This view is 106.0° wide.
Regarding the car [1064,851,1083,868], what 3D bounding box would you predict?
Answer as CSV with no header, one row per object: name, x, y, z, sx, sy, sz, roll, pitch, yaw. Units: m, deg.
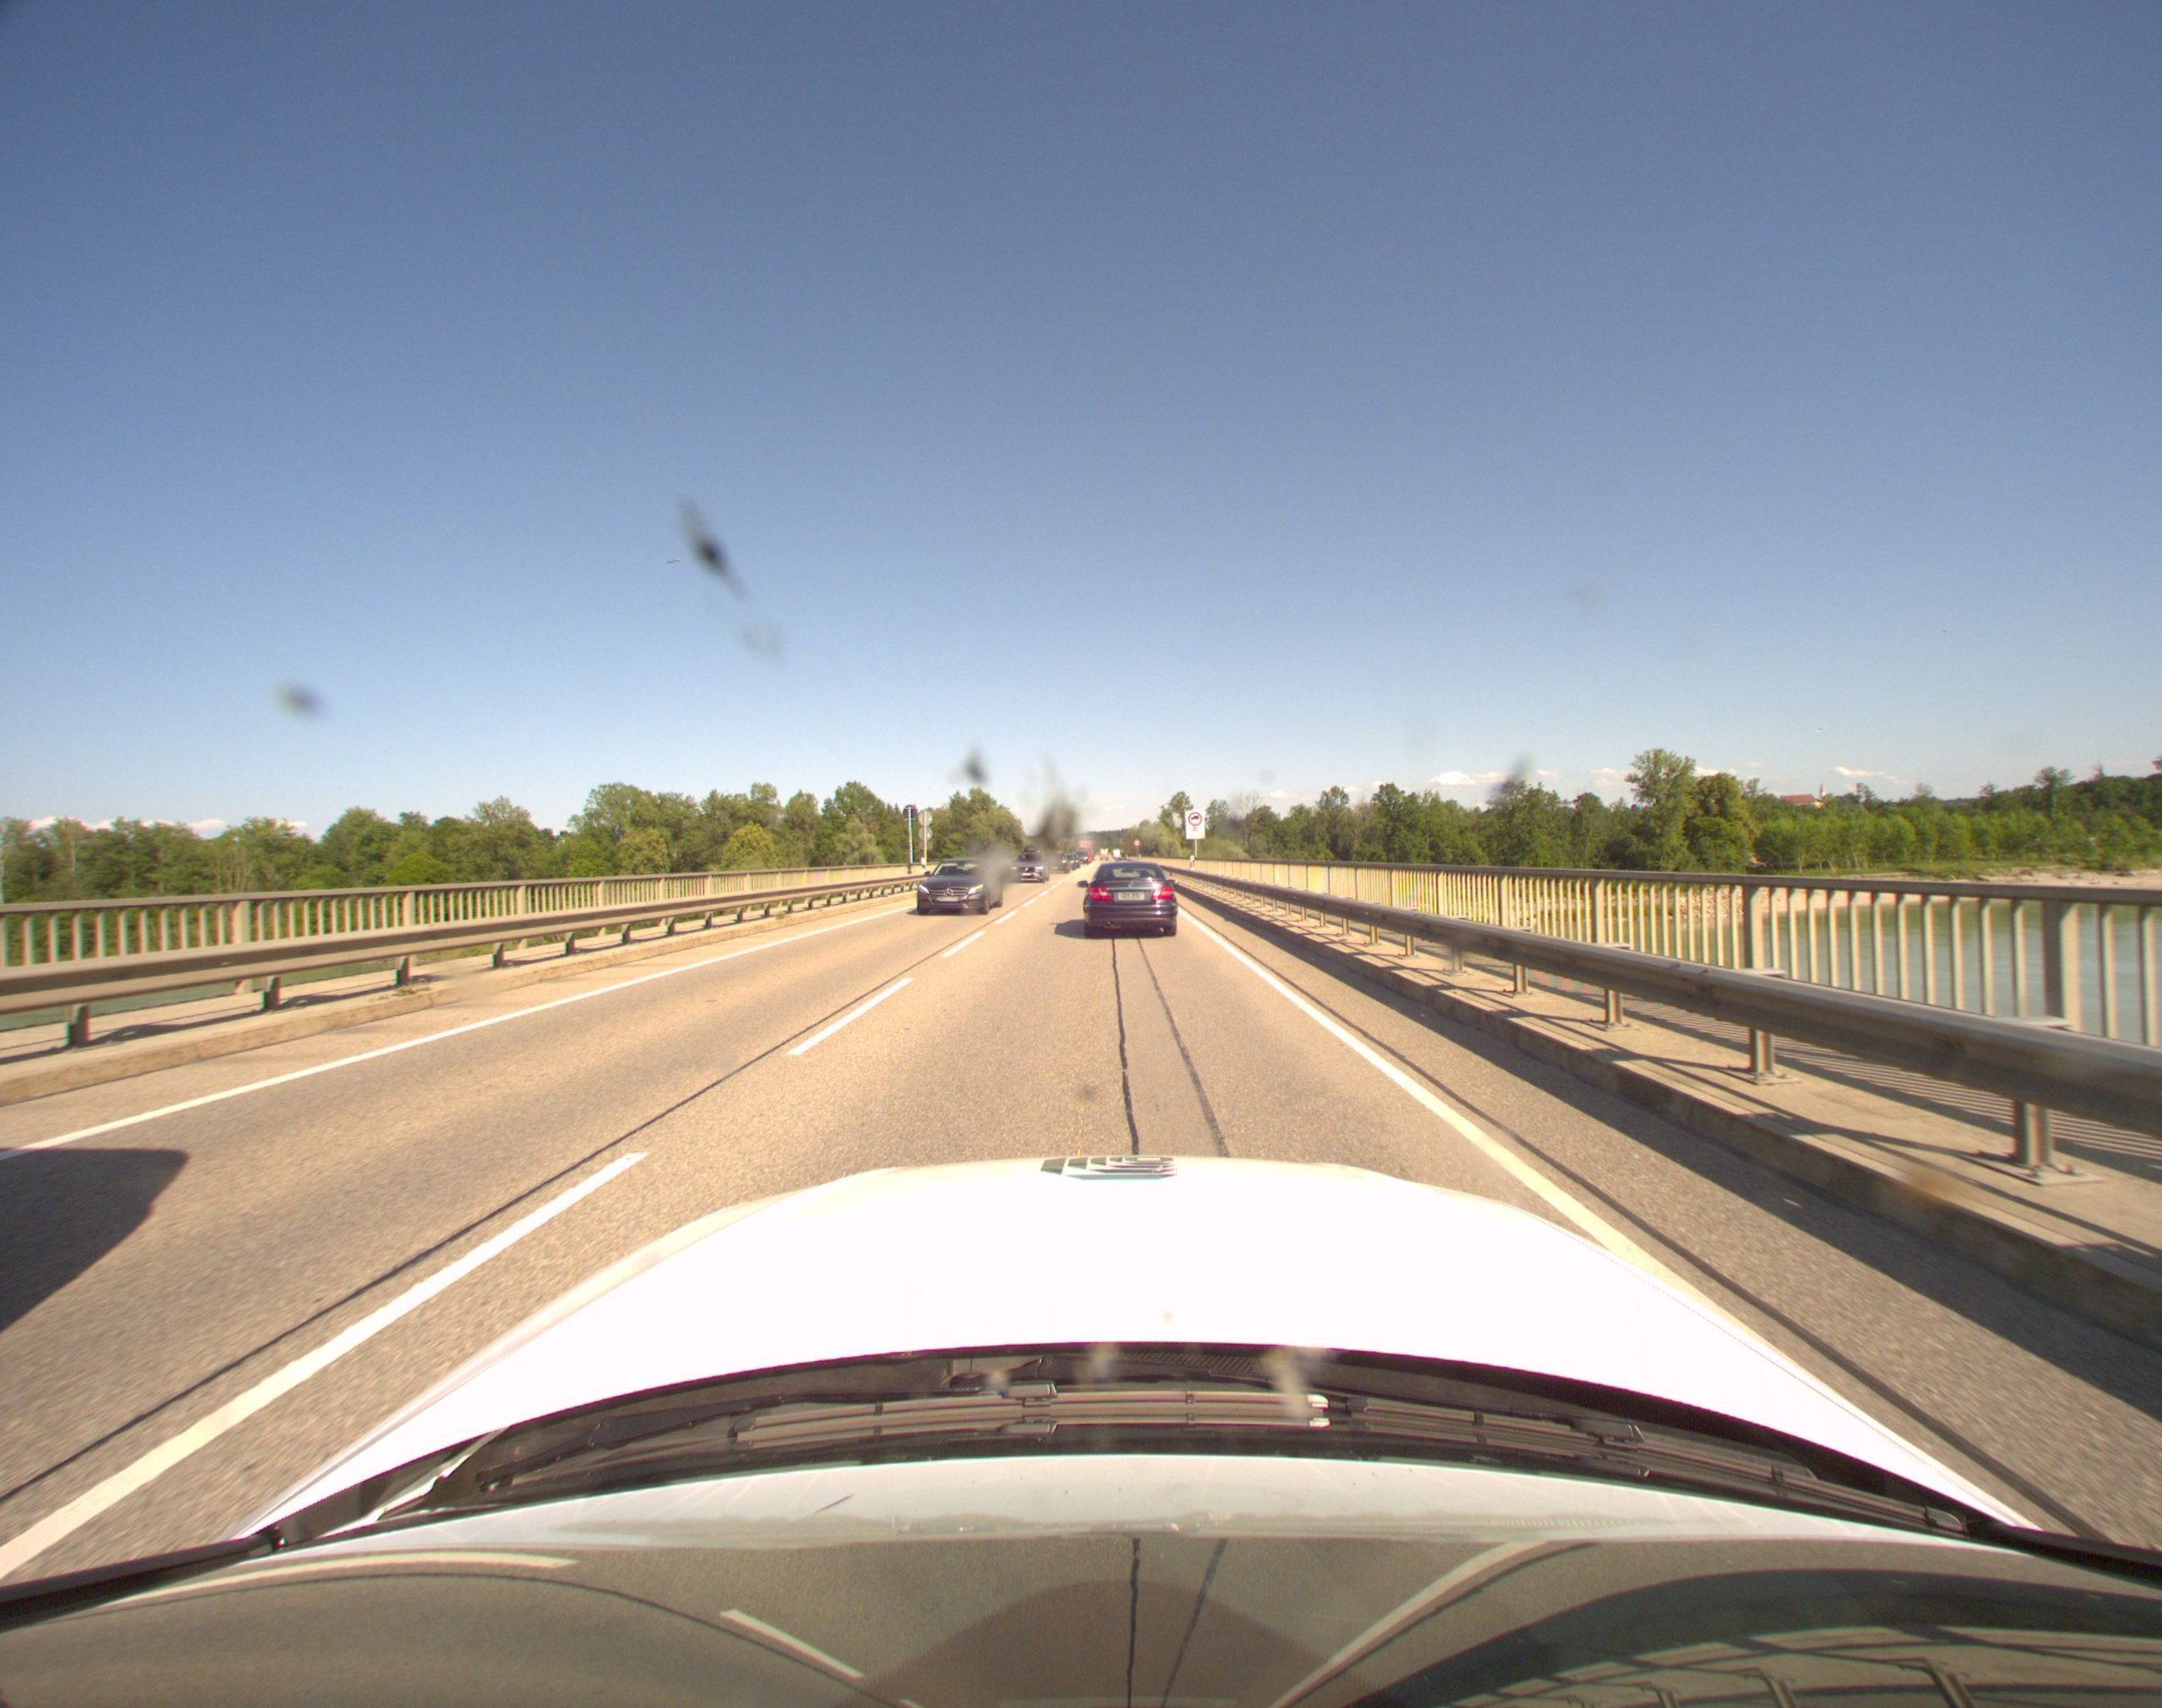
car,-0.786,0.507,80.522,1.801,1.577,4.198,-1,0,-2

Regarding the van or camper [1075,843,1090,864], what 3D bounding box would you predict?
van or camper,0.242,-0.096,125.791,2.307,3.051,6.817,0,0,0

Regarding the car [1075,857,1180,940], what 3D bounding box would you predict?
car,0.896,0.771,15.982,1.786,1.376,4.003,-1,0,3

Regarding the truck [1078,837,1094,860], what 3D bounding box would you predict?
truck,0.967,-1.068,151.882,2.898,4.184,5.714,-1,0,1

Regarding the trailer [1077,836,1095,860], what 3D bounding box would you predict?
trailer,0.885,-1.146,159.818,2.899,4.302,14.292,-1,0,-2

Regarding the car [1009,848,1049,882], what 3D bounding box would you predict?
car,-2.858,0.565,45.588,1.848,1.722,4.566,1,1,0

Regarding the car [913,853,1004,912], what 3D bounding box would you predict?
car,-3.230,0.697,22.260,1.759,1.447,4.456,-1,0,0

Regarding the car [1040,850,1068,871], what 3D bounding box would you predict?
car,-2.130,0.502,65.890,2.047,1.652,4.720,-1,0,0

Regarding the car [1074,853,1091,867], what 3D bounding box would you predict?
car,0.131,0.653,91.718,1.869,1.583,4.271,-1,0,-1

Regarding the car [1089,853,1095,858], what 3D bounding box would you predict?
car,3.420,0.426,253.919,1.834,1.642,4.579,-3,0,2
